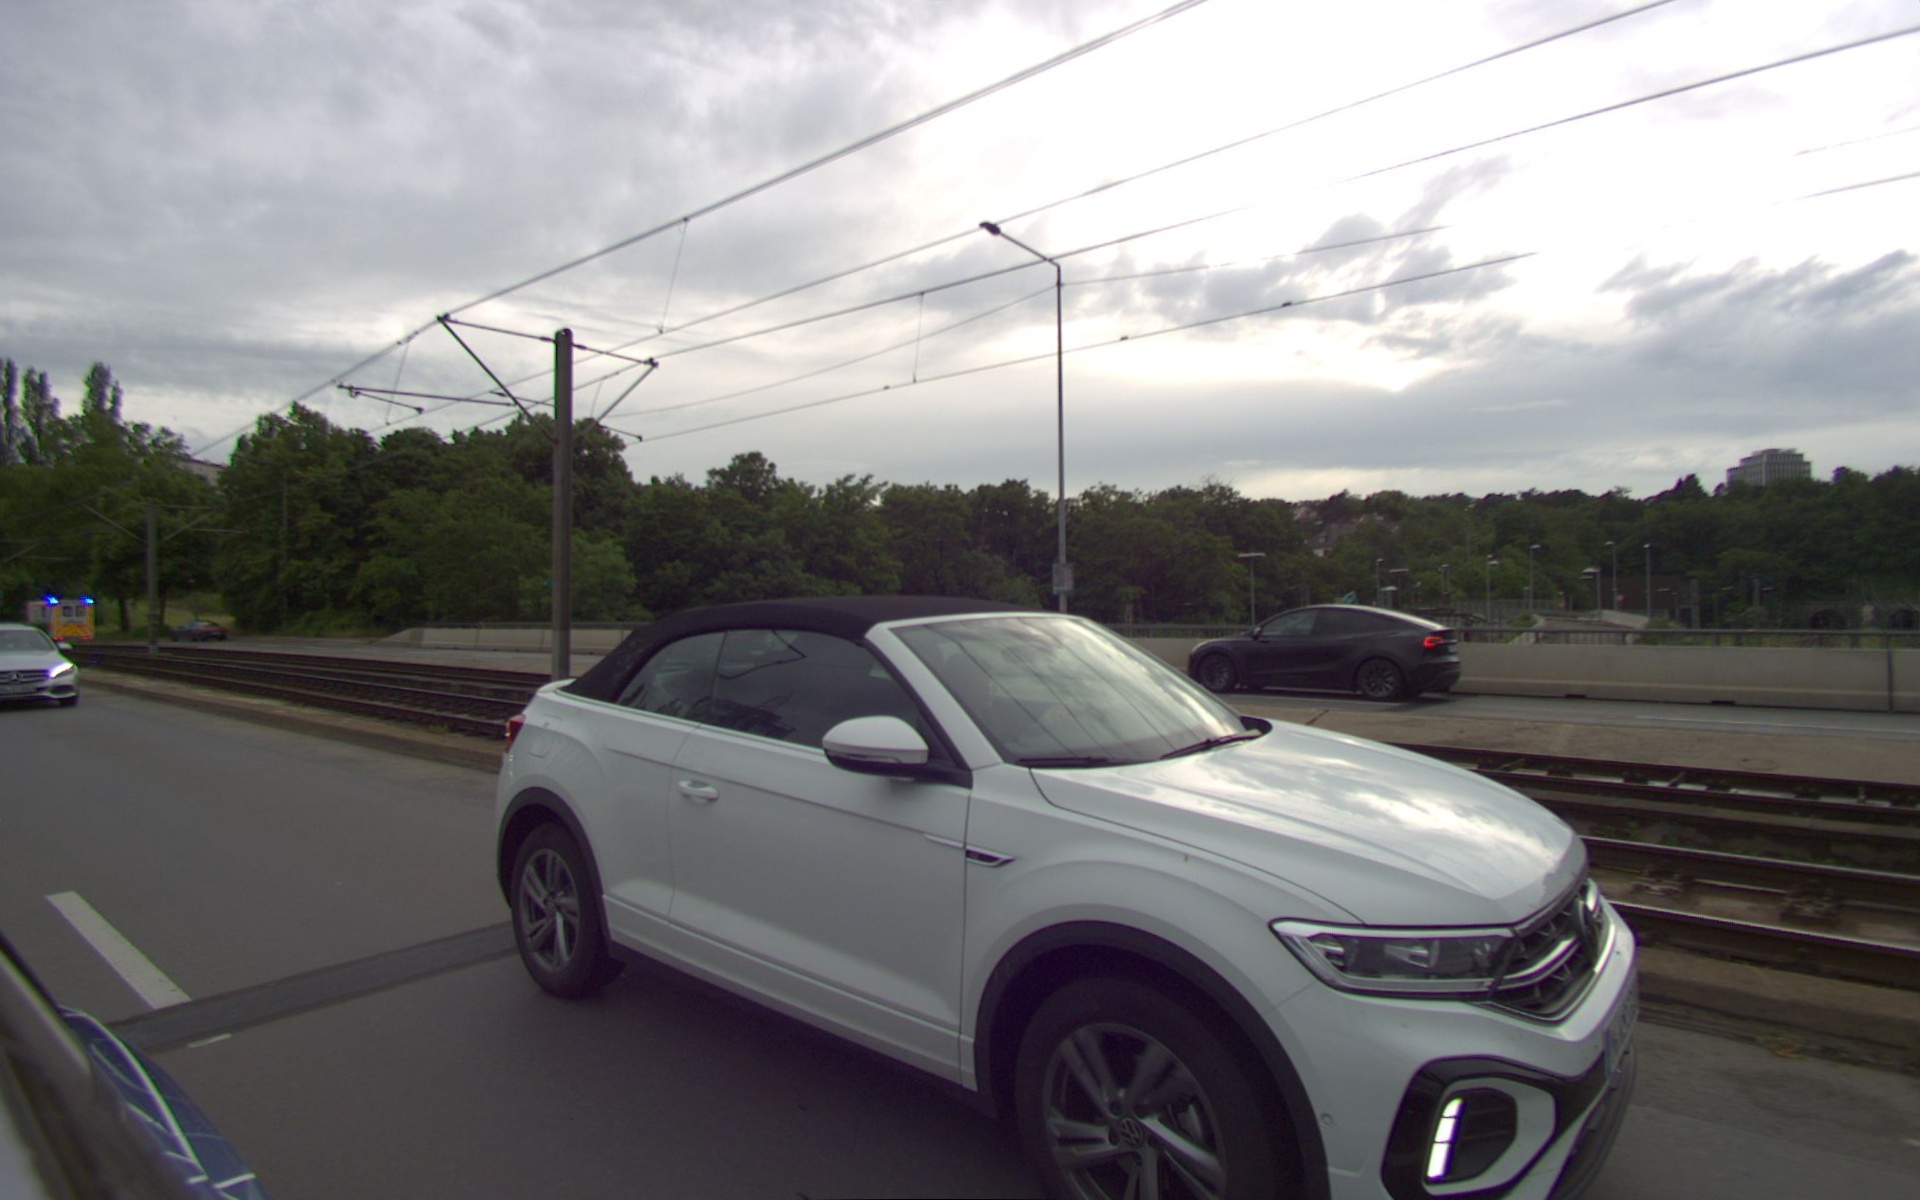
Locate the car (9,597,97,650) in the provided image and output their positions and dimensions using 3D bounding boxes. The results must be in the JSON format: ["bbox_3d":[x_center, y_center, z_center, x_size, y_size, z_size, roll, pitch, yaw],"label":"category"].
[{"bbox_3d":[-57.065,1.465,63.640,6.333,3.139,2.372,-1,0,31],"label":"car"}]

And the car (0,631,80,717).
[{"bbox_3d":[-17.033,1.252,17.808,4.058,1.366,1.847,-2,-2,42],"label":"car"}]

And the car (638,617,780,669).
[{"bbox_3d":[-7.634,1.274,30.549,4.738,1.447,1.797,-2,-1,41],"label":"car"}]

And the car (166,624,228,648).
[{"bbox_3d":[-47.260,2.238,62.621,4.610,1.324,1.820,-2,1,37],"label":"car"}]

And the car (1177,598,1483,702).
[{"bbox_3d":[6.432,0.859,17.889,4.725,1.609,1.878,-2,-3,38],"label":"car"}]

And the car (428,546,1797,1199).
[{"bbox_3d":[0.023,0.708,3.607,4.537,1.535,1.852,-1,0,41],"label":"car"}]
